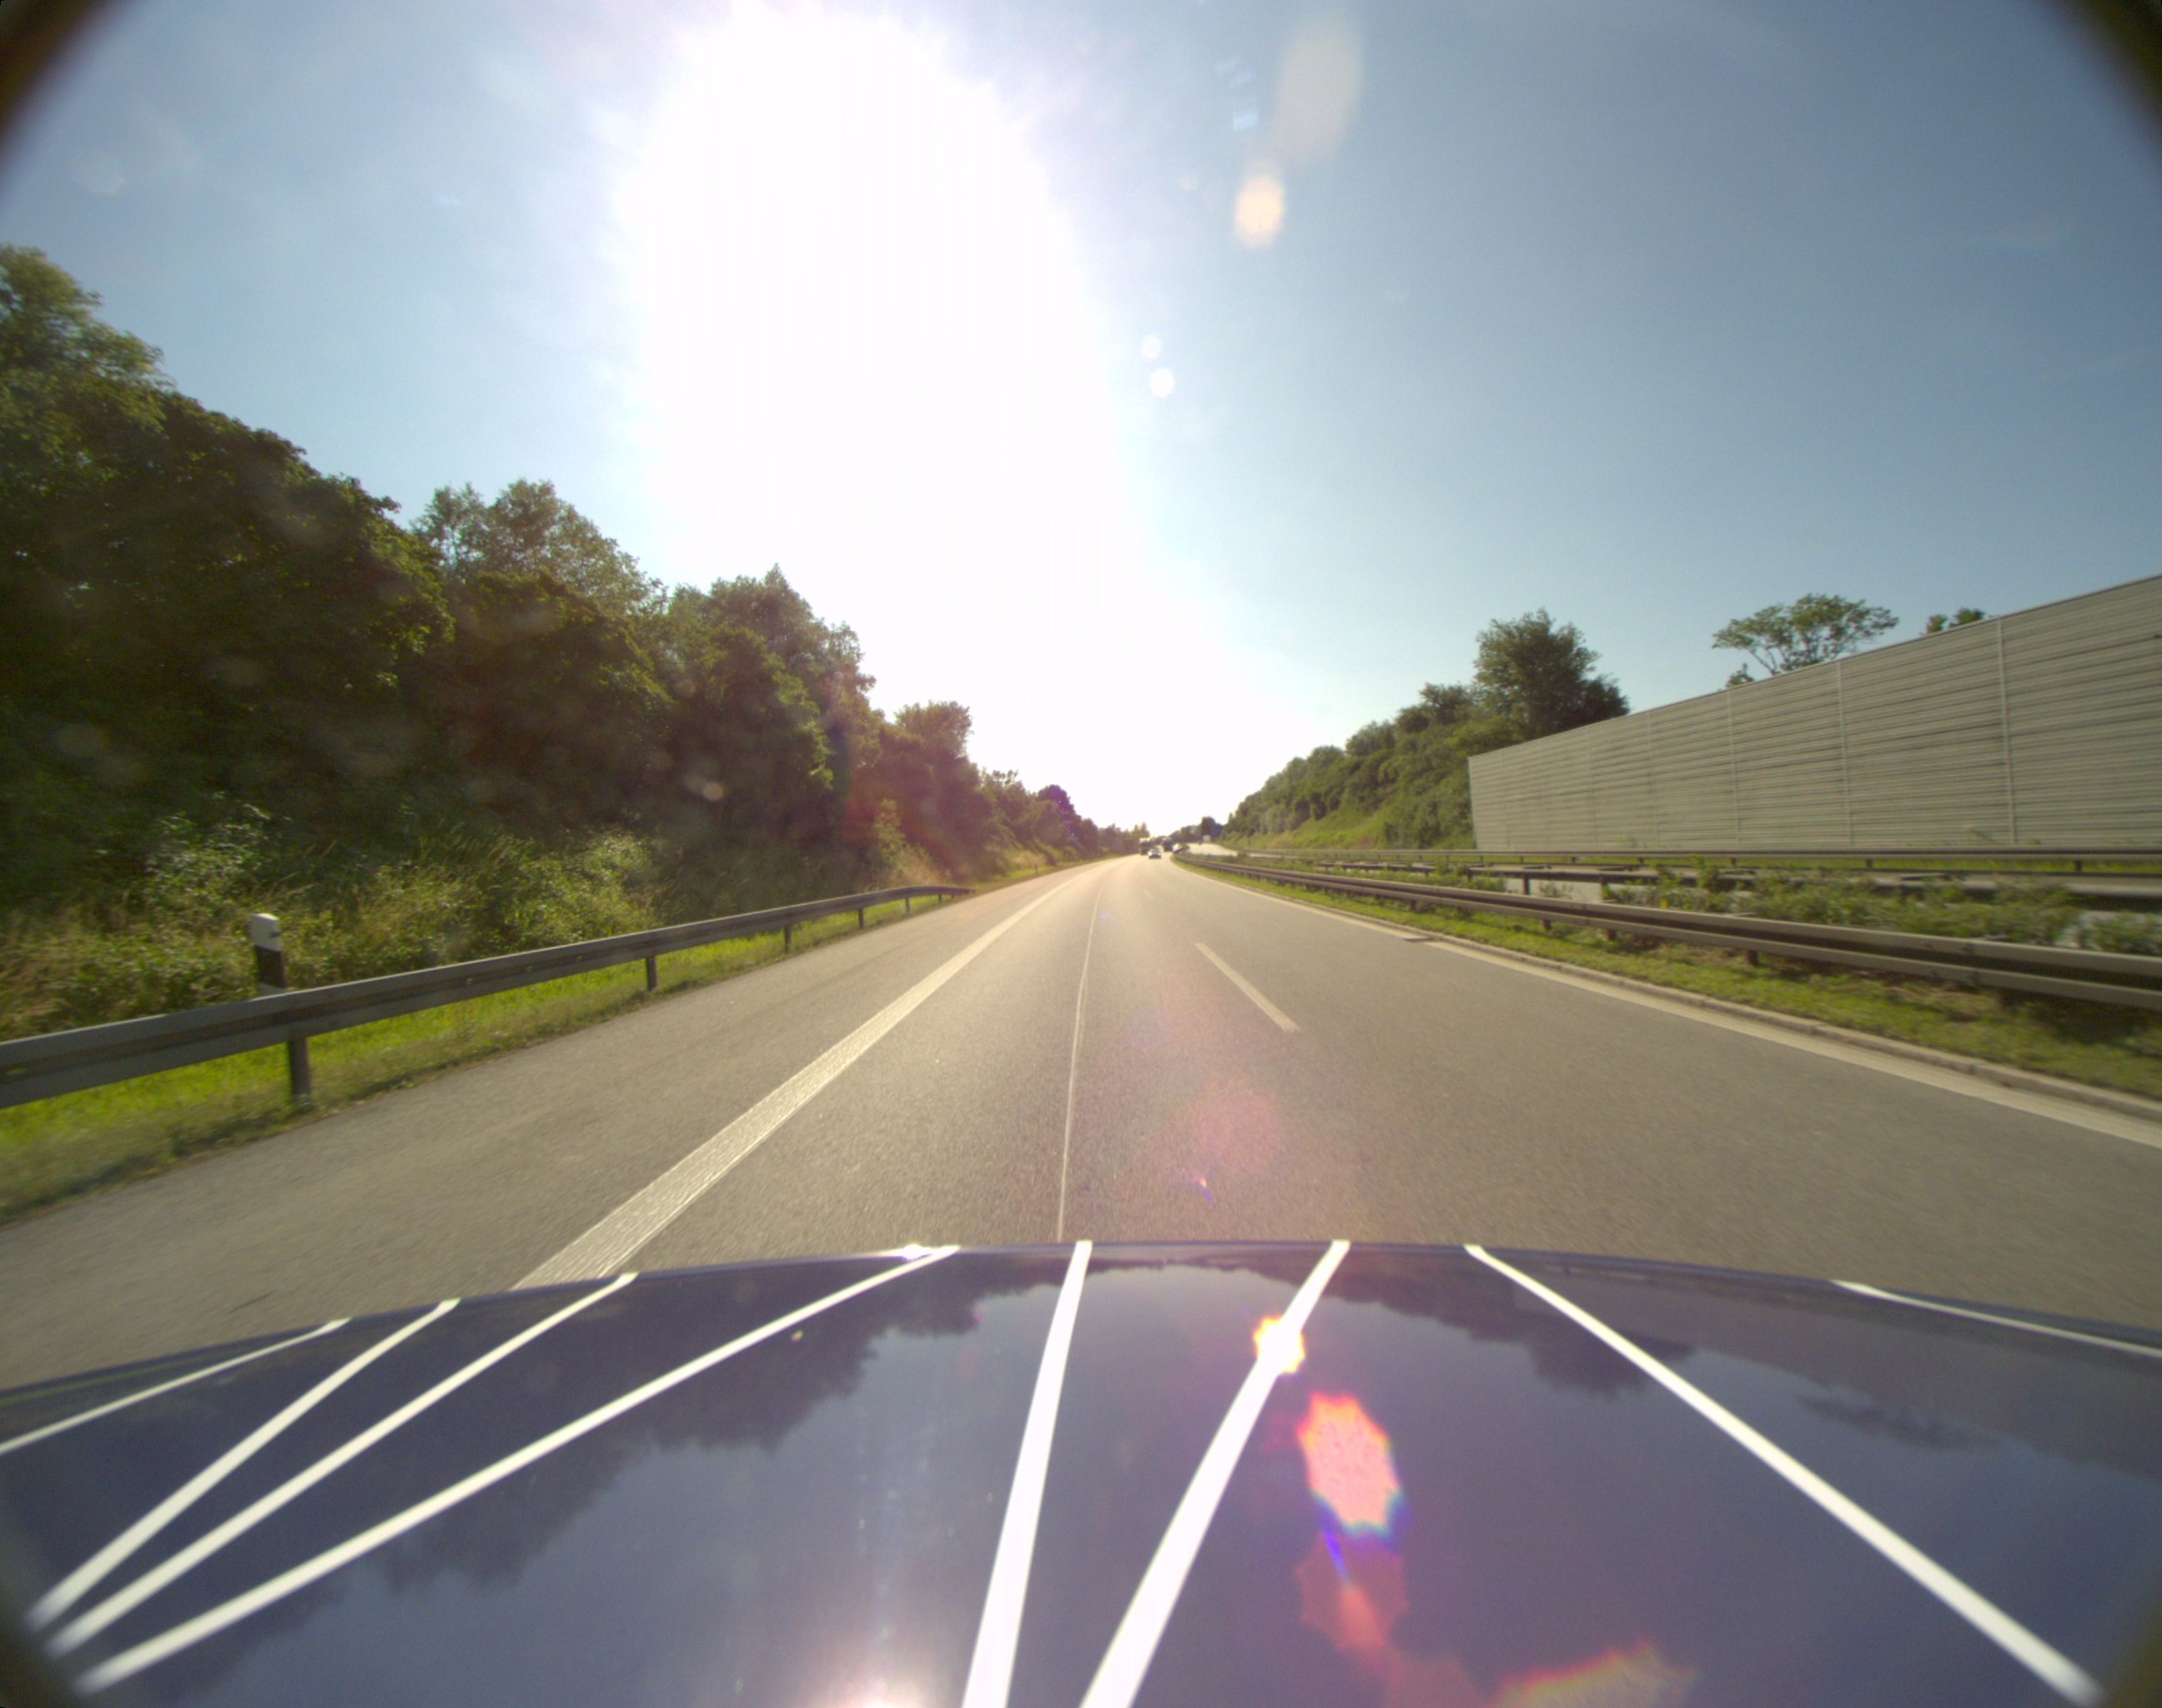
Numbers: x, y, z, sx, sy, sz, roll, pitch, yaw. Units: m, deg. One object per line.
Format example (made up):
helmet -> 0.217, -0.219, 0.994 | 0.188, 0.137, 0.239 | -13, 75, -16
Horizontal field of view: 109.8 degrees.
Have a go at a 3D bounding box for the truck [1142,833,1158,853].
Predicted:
truck -> 15.614, -2.475, 171.916 | 3.433, 4.187, 12.089 | -2, 1, 5

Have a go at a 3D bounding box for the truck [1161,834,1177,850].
truck -> 24.888, -3.428, 215.295 | 3.434, 4.187, 12.086 | -2, 1, 3

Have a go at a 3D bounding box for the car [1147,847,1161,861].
car -> 10.938, 0.010, 113.489 | 1.997, 2.001, 4.602 | -2, -1, 6
